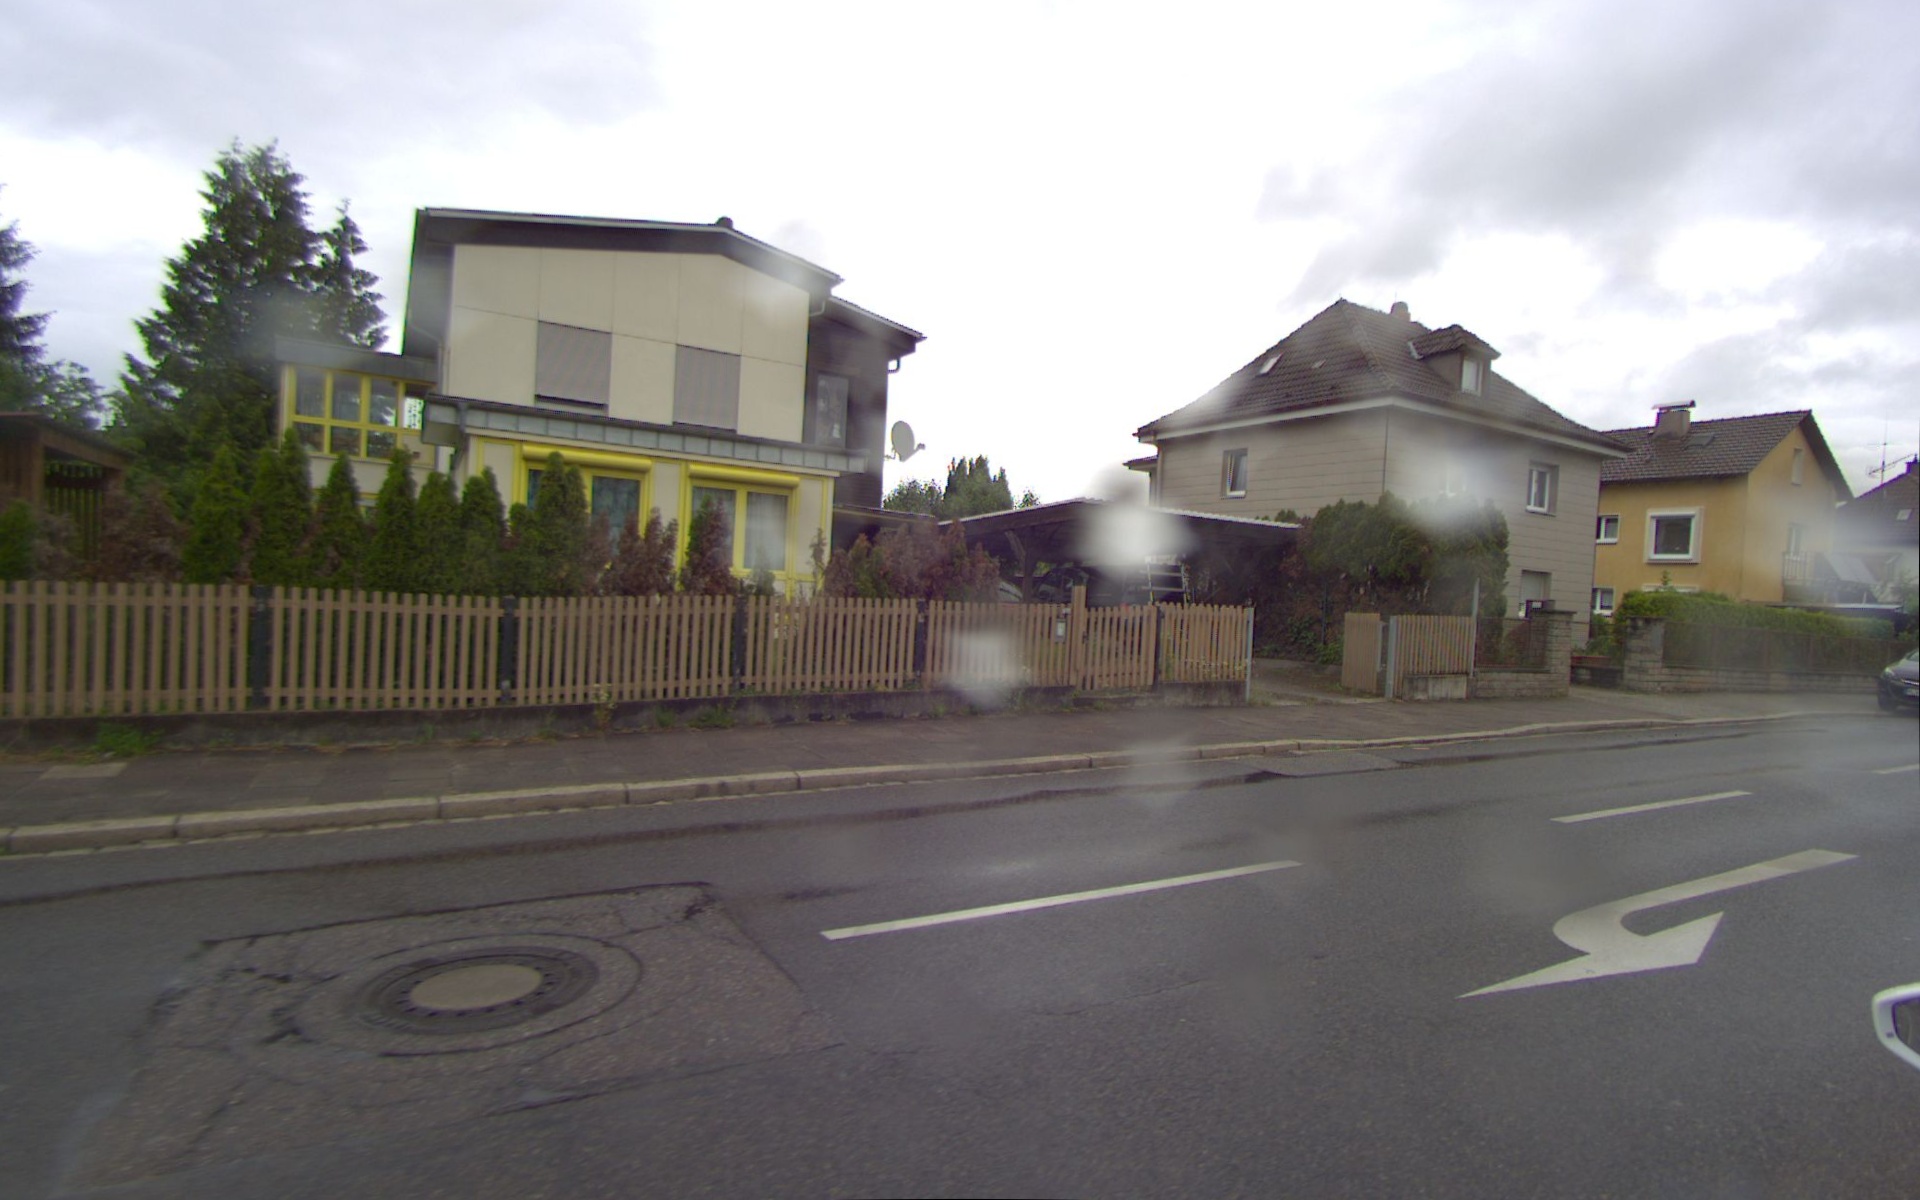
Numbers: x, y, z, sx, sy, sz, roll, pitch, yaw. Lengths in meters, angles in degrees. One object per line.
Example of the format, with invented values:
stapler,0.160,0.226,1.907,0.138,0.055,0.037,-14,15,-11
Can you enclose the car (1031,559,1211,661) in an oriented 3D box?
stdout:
car,3.363,0.242,21.744,1.973,1.980,3.976,1,-1,-24

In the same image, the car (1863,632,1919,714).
car,19.554,1.481,19.530,4.081,1.458,1.742,4,0,-30

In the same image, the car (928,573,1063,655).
car,0.697,0.306,21.450,1.572,1.603,3.168,1,-1,-26
